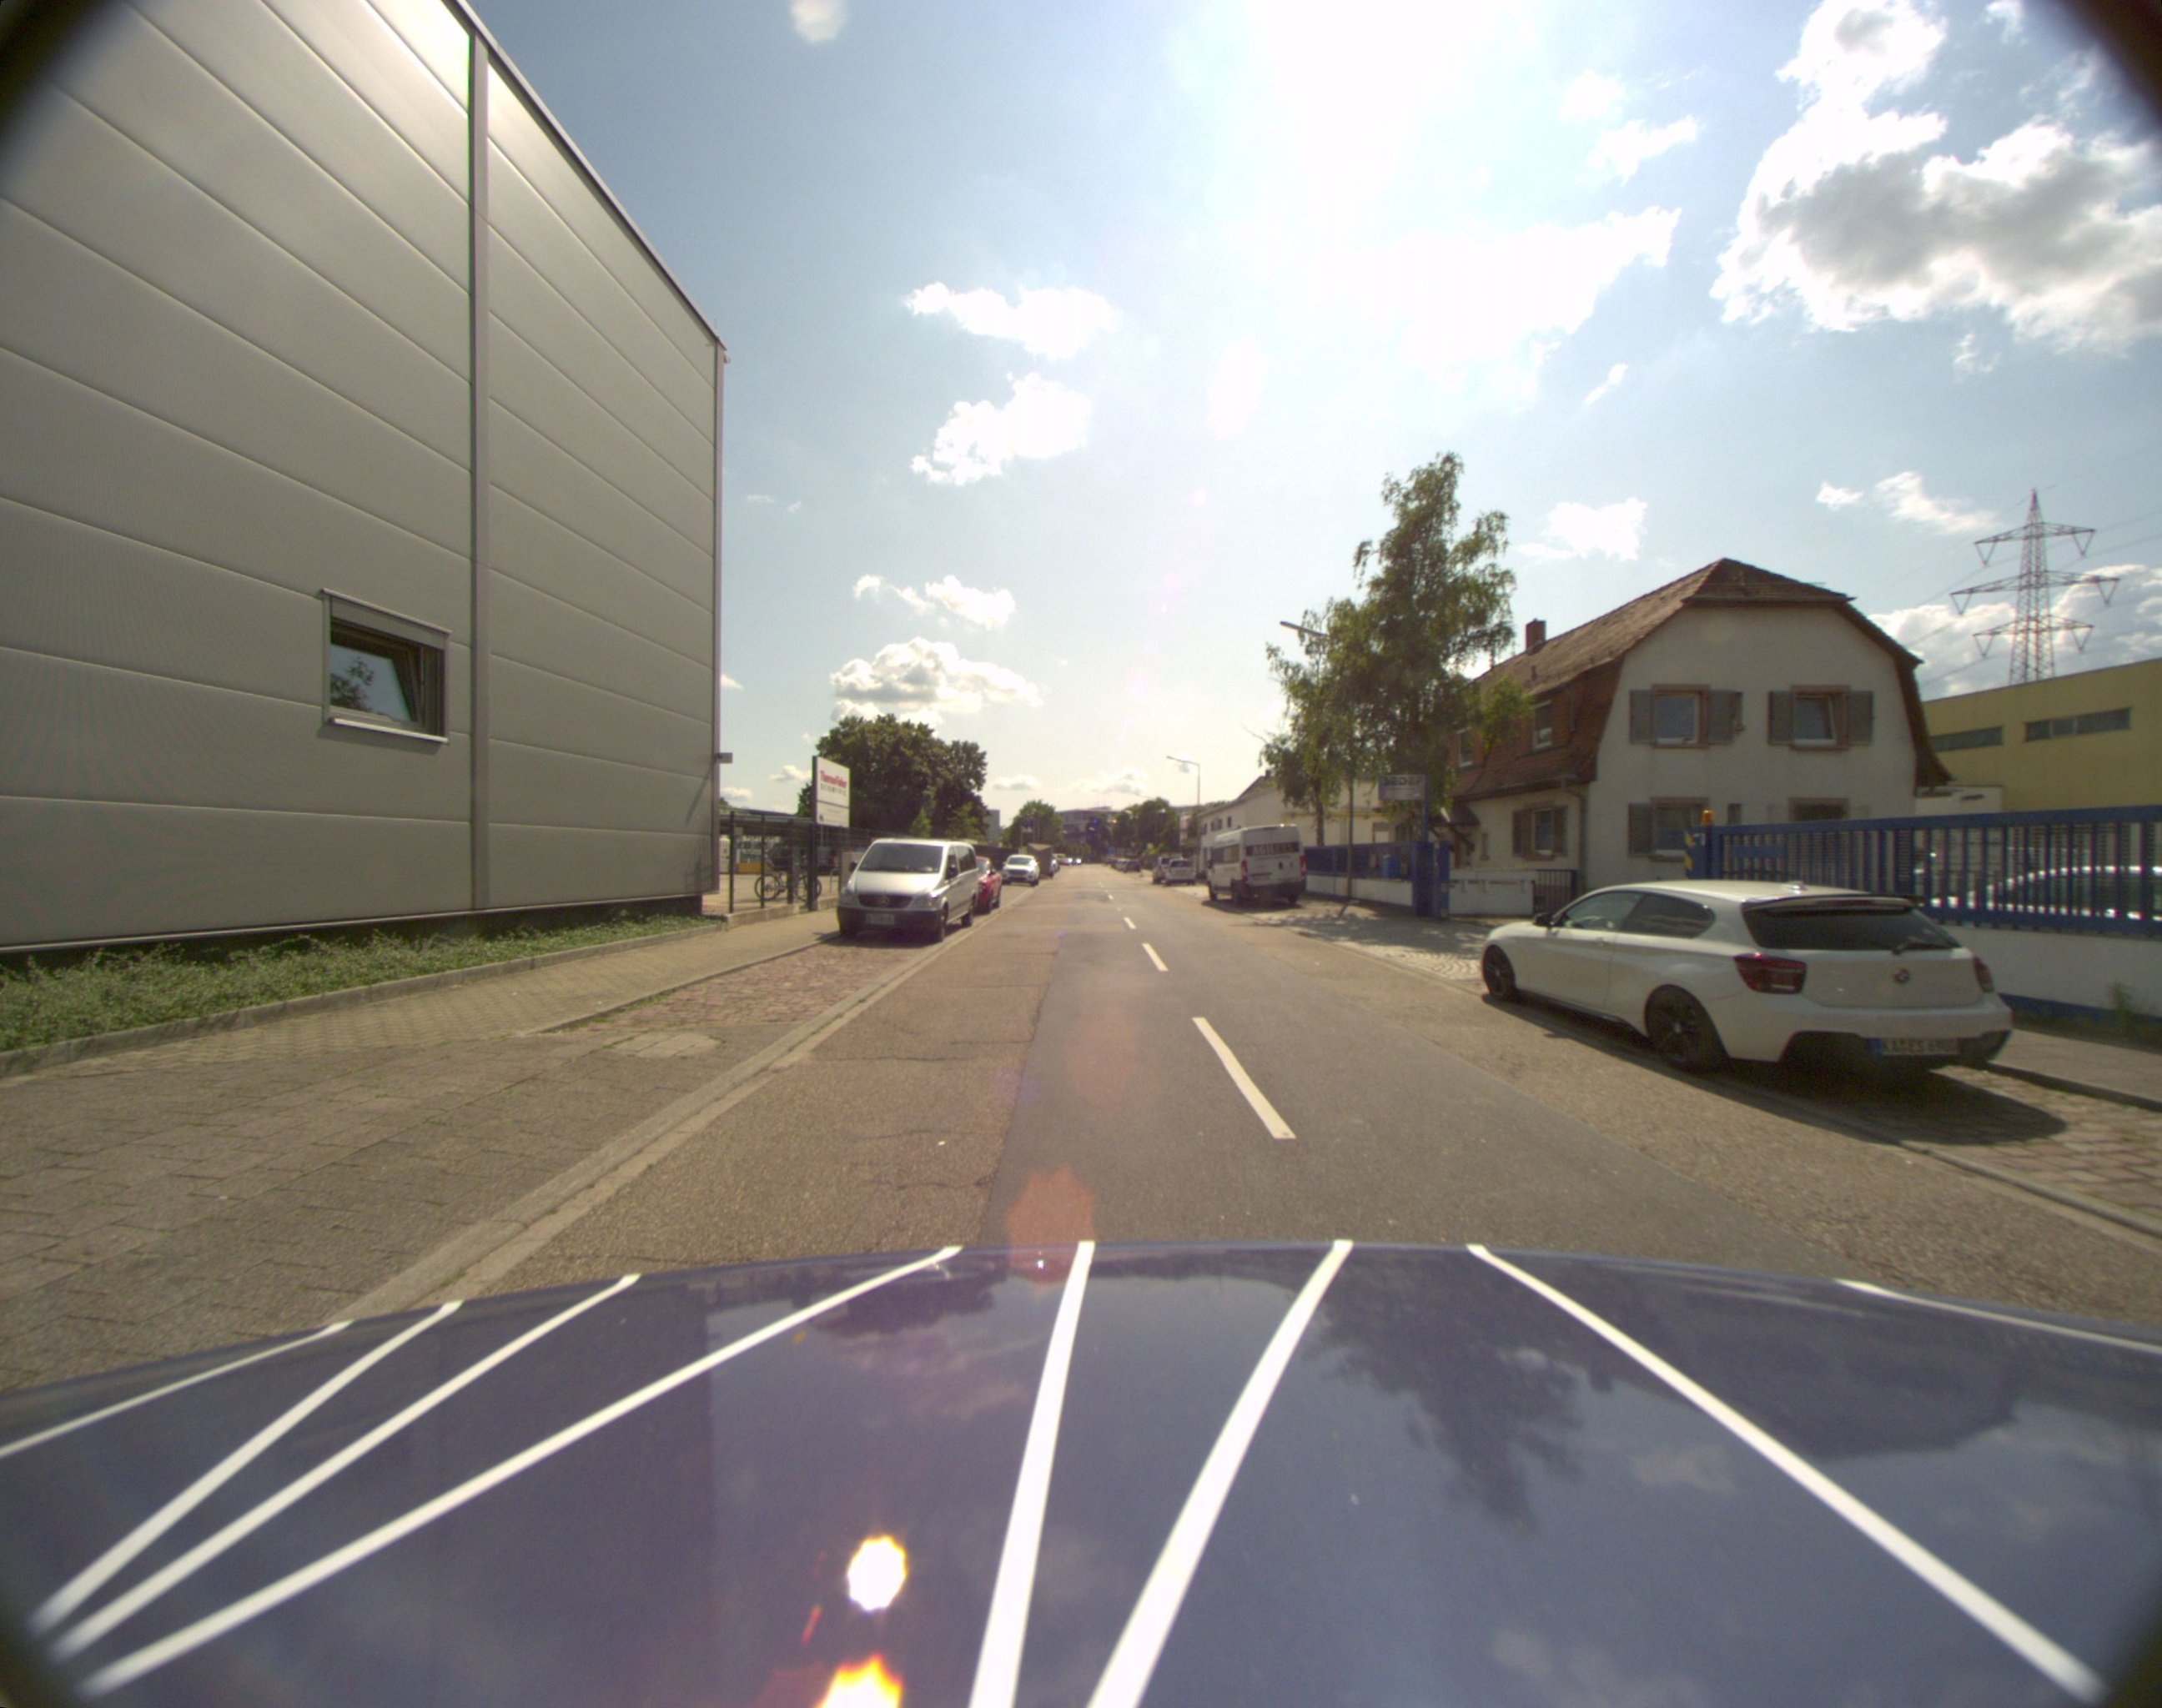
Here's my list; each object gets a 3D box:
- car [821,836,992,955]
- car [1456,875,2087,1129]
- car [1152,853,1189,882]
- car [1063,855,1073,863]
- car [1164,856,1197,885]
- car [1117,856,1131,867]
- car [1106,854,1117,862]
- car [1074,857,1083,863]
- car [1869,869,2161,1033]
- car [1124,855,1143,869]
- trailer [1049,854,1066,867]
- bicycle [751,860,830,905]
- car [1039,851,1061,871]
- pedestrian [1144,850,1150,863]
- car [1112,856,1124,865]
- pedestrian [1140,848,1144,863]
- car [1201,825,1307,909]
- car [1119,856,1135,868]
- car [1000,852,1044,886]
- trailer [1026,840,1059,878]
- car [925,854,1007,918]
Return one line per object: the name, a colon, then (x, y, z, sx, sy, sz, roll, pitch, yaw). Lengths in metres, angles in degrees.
car: (-3.286, 0.713, 15.542, 2.059, 1.892, 5.147, 4, 0, 2)
car: (5.407, 0.992, 6.986, 1.800, 1.389, 4.501, -1, 1, 2)
car: (5.739, 0.839, 49.345, 1.795, 1.709, 4.751, -2, 0, 0)
car: (-2.514, 0.979, 147.575, 1.758, 1.477, 4.224, 4, 0, 0)
car: (5.804, 0.916, 44.488, 1.613, 1.565, 3.009, -3, 0, 2)
car: (6.070, 0.999, 107.582, 1.649, 1.468, 4.028, 0, 1, 0)
car: (6.411, 0.895, 158.944, 1.762, 1.565, 4.475, -1, 1, -3)
car: (-0.539, 1.298, 164.275, 1.758, 1.211, 4.224, 0, 0, 0)
car: (11.114, 0.958, 7.772, 1.870, 1.455, 4.142, 1, 1, 2)
car: (5.924, 0.895, 85.949, 1.810, 1.410, 4.496, -2, 0, -1)
trailer: (-2.815, 0.739, 89.698, 1.754, 1.409, 4.547, 3, 1, -5)
bicycle: (-7.883, 0.760, 20.661, 1.954, 1.136, 0.457, 2, 1, 3)
car: (-3.170, 0.675, 79.579, 1.998, 2.002, 5.649, 1, 0, 0)
pedestrian: (8.704, 0.317, 99.589, 0.710, 1.790, 0.916, 0, 1, 0)
car: (6.313, 1.059, 129.088, 1.849, 1.499, 4.000, -3, 0, 0)
pedestrian: (8.006, 0.222, 99.257, 0.452, 1.883, 0.677, 0, 1, 0)
car: (5.884, 0.381, 26.867, 2.035, 2.543, 6.655, -2, 1, -1)
car: (5.949, 1.046, 98.337, 1.625, 1.513, 4.174, 0, 0, -3)
car: (-3.210, 0.810, 42.152, 1.940, 1.683, 4.679, 3, 0, 0)
trailer: (-3.025, 0.357, 60.888, 2.210, 2.721, 6.221, 3, 1, 0)
car: (-3.245, 0.845, 22.199, 1.708, 1.615, 4.092, 3, 0, 0)
